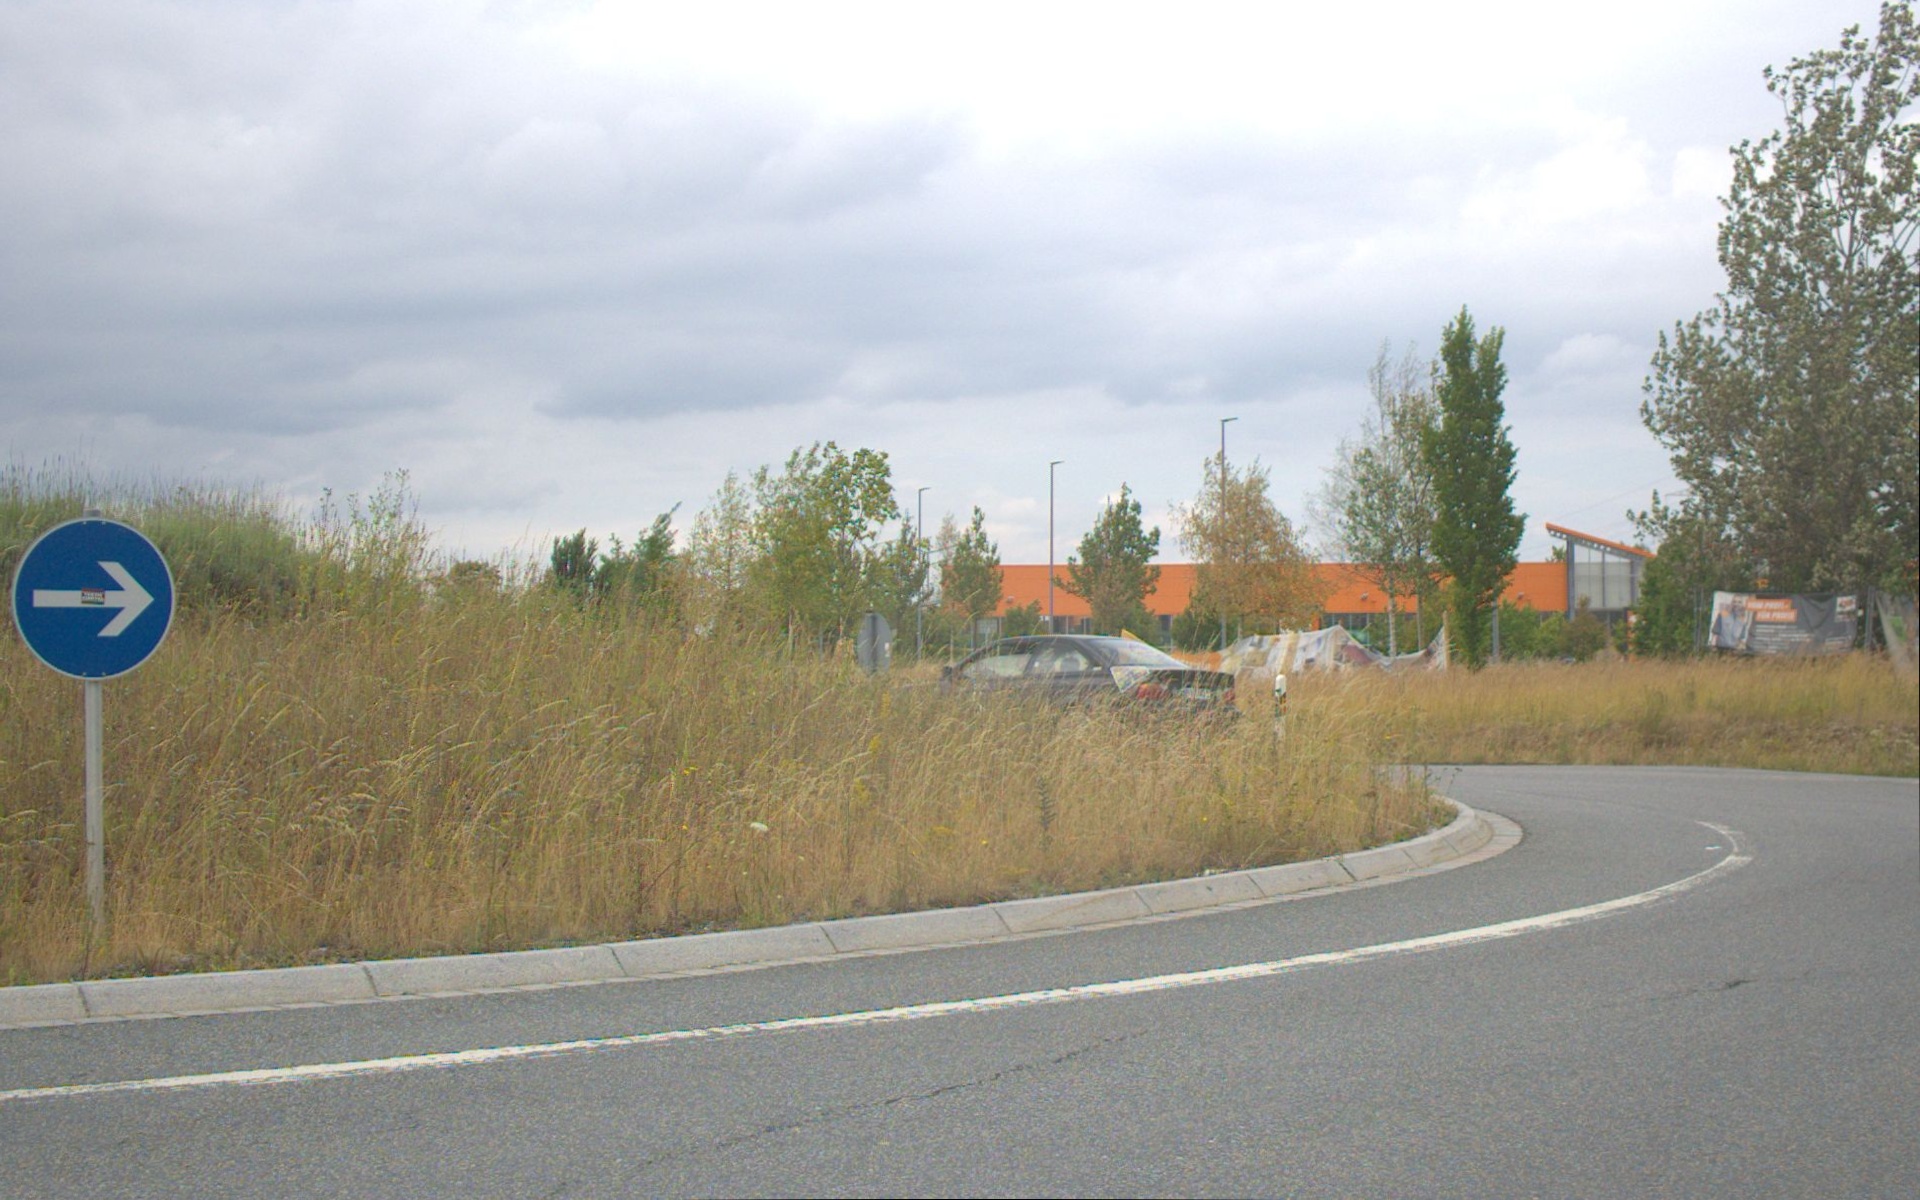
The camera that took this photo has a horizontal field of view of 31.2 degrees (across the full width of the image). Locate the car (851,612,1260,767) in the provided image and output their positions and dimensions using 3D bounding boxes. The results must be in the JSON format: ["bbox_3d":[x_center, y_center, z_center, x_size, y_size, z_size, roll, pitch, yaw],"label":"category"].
[{"bbox_3d":[0.936,0.869,35.166,3.994,1.399,1.739,1,1,41],"label":"car"}]
